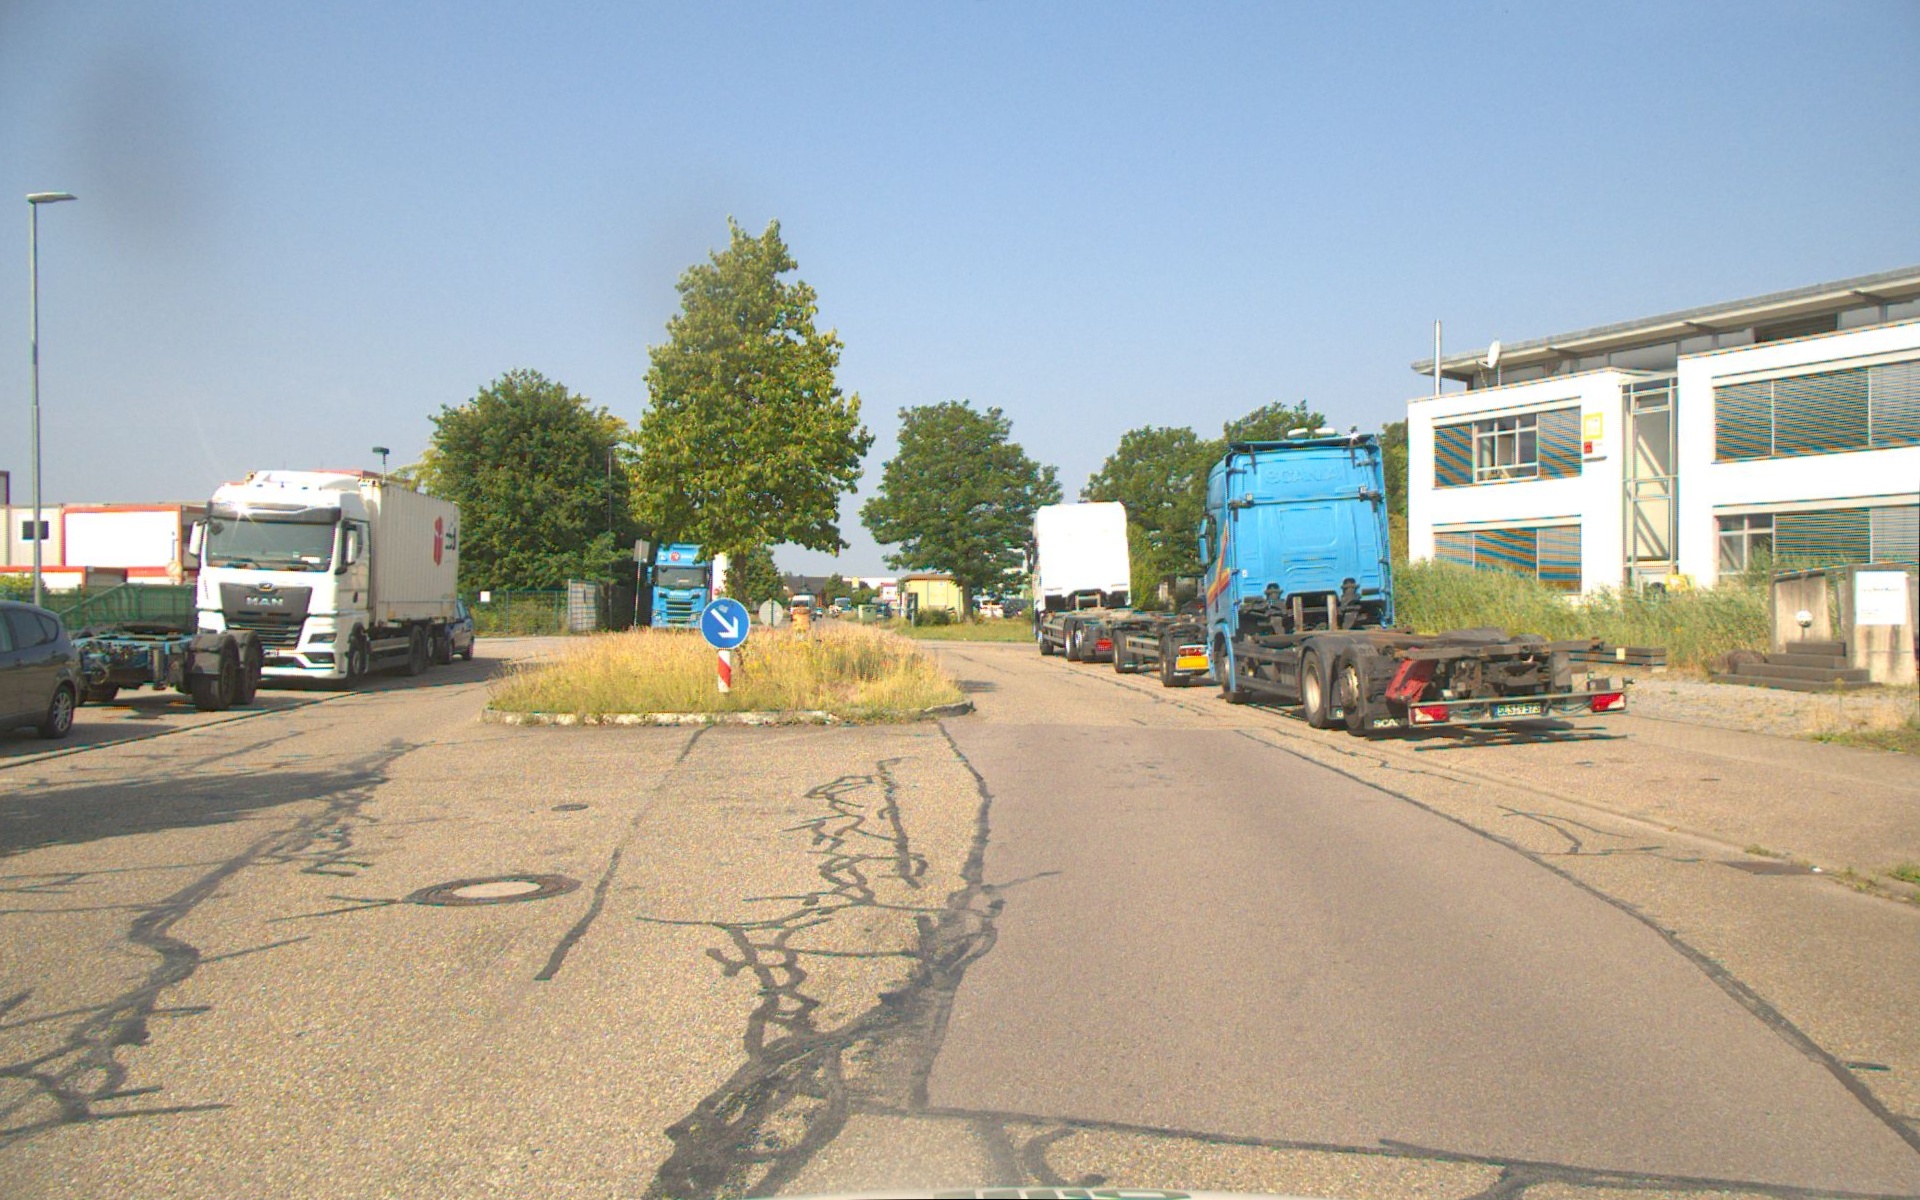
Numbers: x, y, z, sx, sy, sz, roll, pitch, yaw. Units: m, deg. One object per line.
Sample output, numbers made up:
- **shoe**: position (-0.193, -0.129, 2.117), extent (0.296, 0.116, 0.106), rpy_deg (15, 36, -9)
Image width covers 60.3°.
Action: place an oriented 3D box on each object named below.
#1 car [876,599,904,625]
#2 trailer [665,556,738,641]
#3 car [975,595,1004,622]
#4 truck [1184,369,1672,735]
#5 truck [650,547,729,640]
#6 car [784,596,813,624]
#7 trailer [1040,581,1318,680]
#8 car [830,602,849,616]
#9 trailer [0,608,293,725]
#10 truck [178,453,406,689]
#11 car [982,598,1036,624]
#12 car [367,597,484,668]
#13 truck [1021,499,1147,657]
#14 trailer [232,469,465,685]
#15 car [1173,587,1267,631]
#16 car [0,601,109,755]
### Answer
- **car**: position (-4.946, 0.856, 116.514), extent (1.757, 1.780, 3.994), rpy_deg (2, -1, -6)
- **trailer**: position (-12.954, 0.057, 83.797), extent (2.776, 3.910, 12.021), rpy_deg (2, -1, -5)
- **car**: position (1.907, 0.586, 108.917), extent (1.683, 1.646, 3.998), rpy_deg (1, -1, -2)
- **truck**: position (5.504, -0.424, 21.943), extent (2.832, 3.596, 9.745), rpy_deg (-4, -1, -4)
- **truck**: position (-12.169, -0.181, 75.193), extent (2.770, 3.893, 9.660), rpy_deg (2, -1, -5)
- **car**: position (-16.334, 1.029, 166.769), extent (2.175, 2.733, 6.833), rpy_deg (2, -1, -11)
- **trailer**: position (4.197, 0.559, 36.751), extent (2.692, 1.601, 16.154), rpy_deg (-3, 0, -5)
- **car**: position (-15.845, 1.195, 216.918), extent (1.741, 1.847, 3.984), rpy_deg (2, -1, -15)
- **trailer**: position (-11.881, 0.875, 23.976), extent (2.628, 1.479, 5.073), rpy_deg (1, 0, -4)
- **truck**: position (-12.195, -0.450, 30.589), extent (2.656, 3.991, 4.291), rpy_deg (2, -1, -6)
- **car**: position (2.633, 0.599, 90.133), extent (1.644, 1.353, 3.640), rpy_deg (2, -1, -21)
- **car**: position (-13.430, 0.772, 41.834), extent (1.956, 1.669, 4.580), rpy_deg (1, 0, -7)
- **truck**: position (3.362, -0.574, 45.772), extent (2.693, 4.051, 3.996), rpy_deg (-3, 0, -5)
- **trailer**: position (-12.618, -0.354, 34.873), extent (2.647, 3.991, 7.565), rpy_deg (2, -1, -6)
- **car**: position (11.630, 0.408, 73.871), extent (3.956, 1.798, 1.974), rpy_deg (2, -2, -36)
- **car**: position (-11.058, 0.819, 17.936), extent (1.663, 1.588, 4.331), rpy_deg (2, 0, -5)
